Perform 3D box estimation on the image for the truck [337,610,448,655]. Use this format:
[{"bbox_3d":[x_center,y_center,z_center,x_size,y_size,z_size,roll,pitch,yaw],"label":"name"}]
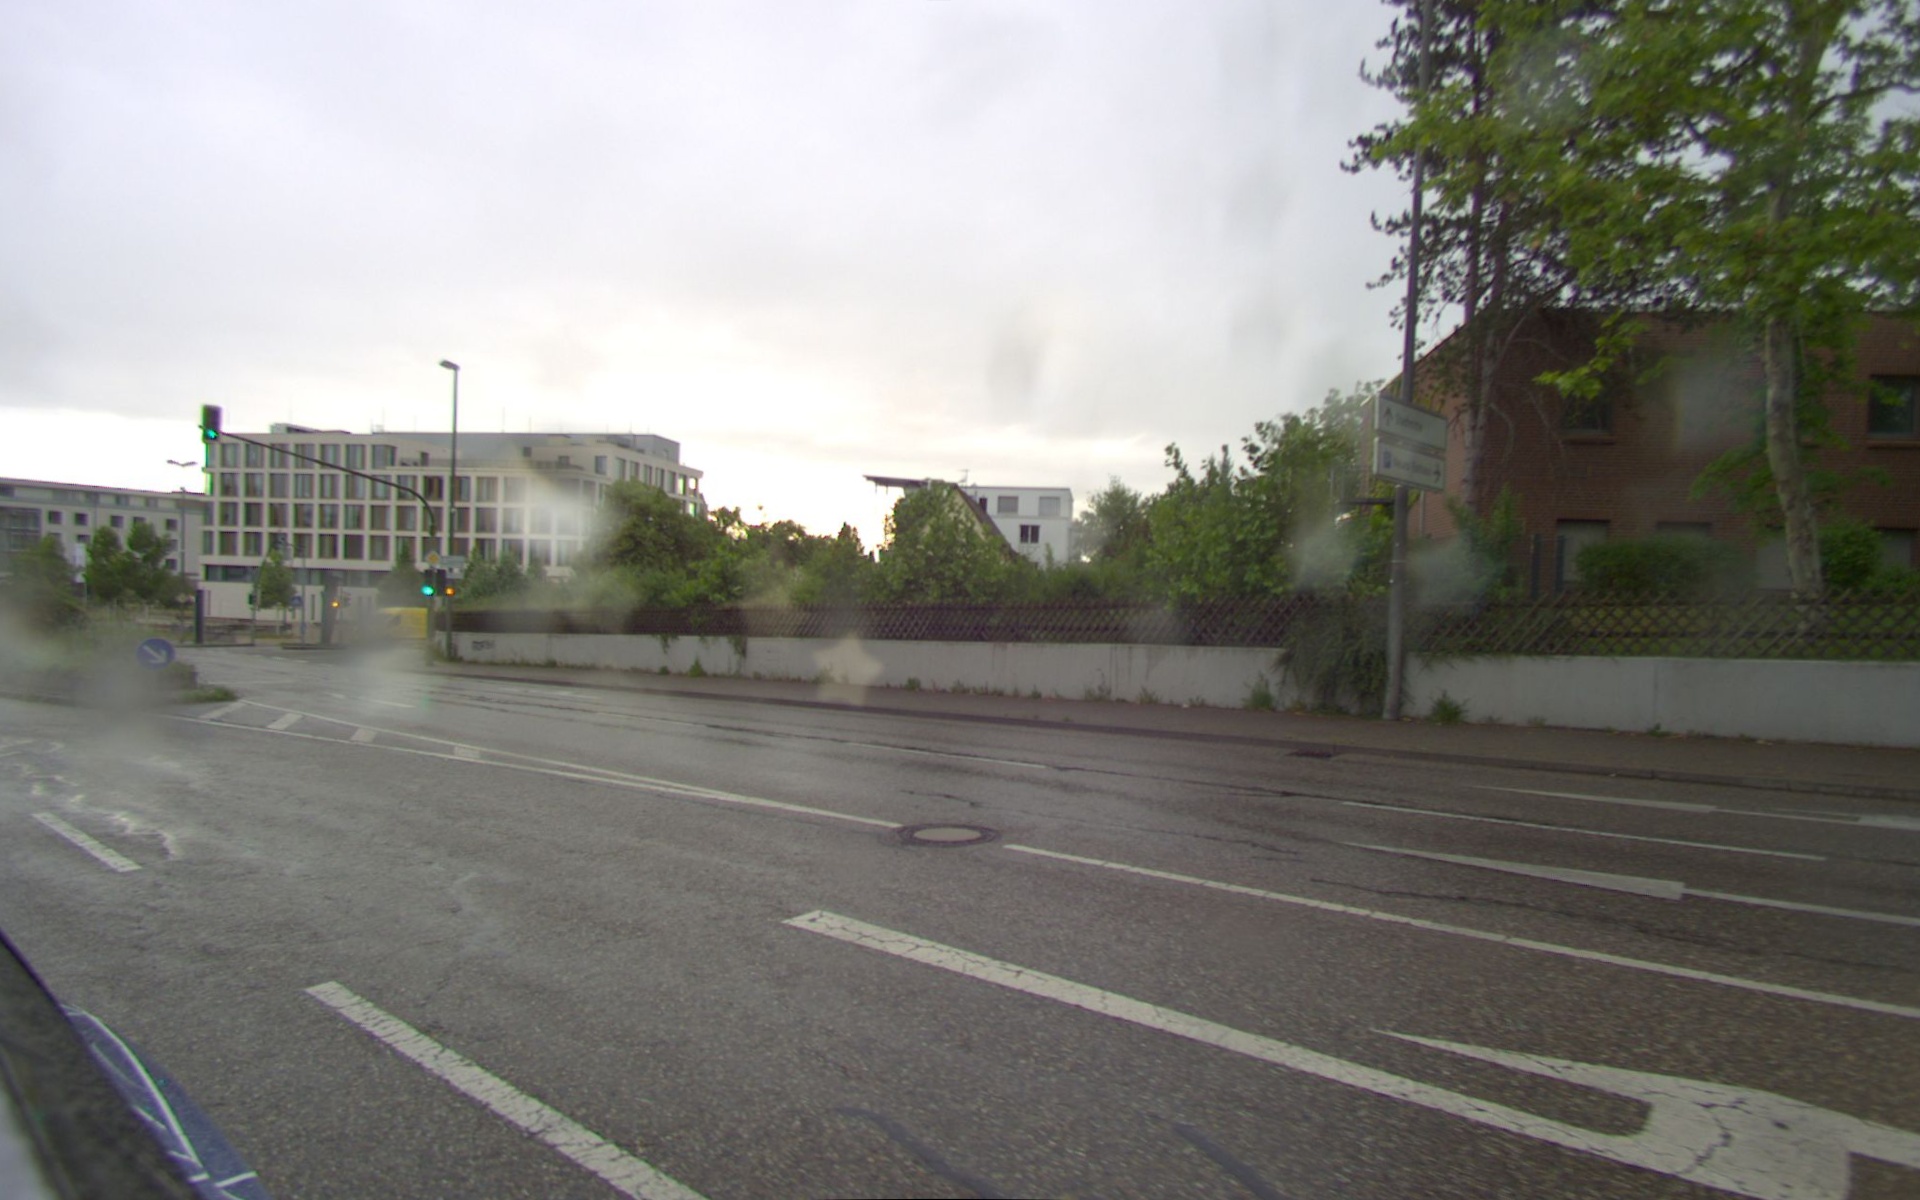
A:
[{"bbox_3d":[-34.492,2.003,61.740,2.207,2.557,6.146,1,-2,14],"label":"truck"}]
